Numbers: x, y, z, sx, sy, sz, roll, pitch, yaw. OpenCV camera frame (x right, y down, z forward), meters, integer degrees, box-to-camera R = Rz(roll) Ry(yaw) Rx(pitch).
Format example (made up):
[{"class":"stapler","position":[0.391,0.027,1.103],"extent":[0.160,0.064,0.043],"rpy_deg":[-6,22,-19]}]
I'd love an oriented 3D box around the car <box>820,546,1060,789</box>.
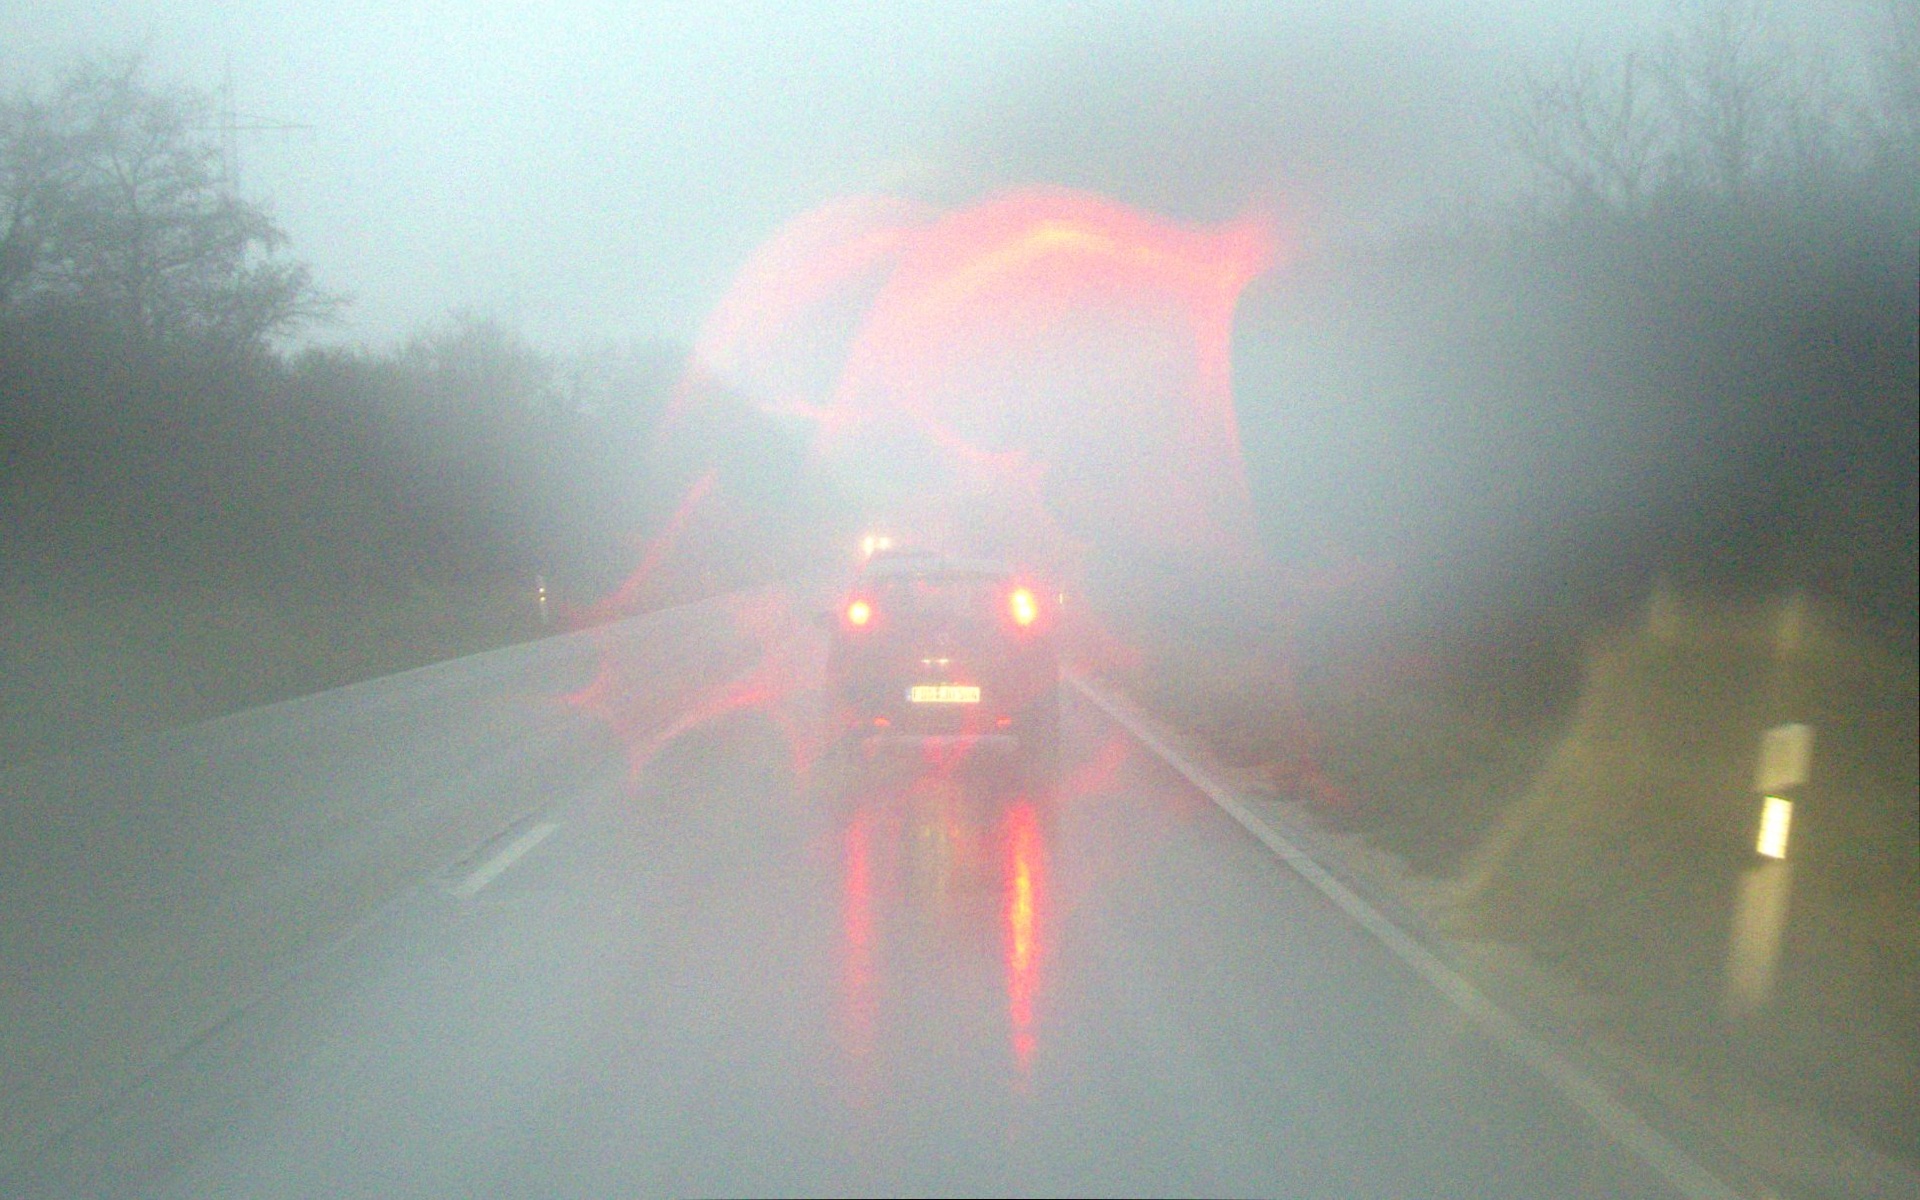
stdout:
[{"class":"car","position":[-0.159,0.446,25.602],"extent":[1.648,1.666,3.514],"rpy_deg":[1,1,-1]}]

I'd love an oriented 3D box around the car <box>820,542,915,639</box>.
[{"class":"car","position":[-1.749,-0.200,65.589],"extent":[1.733,1.773,4.000],"rpy_deg":[1,1,-1]}]
